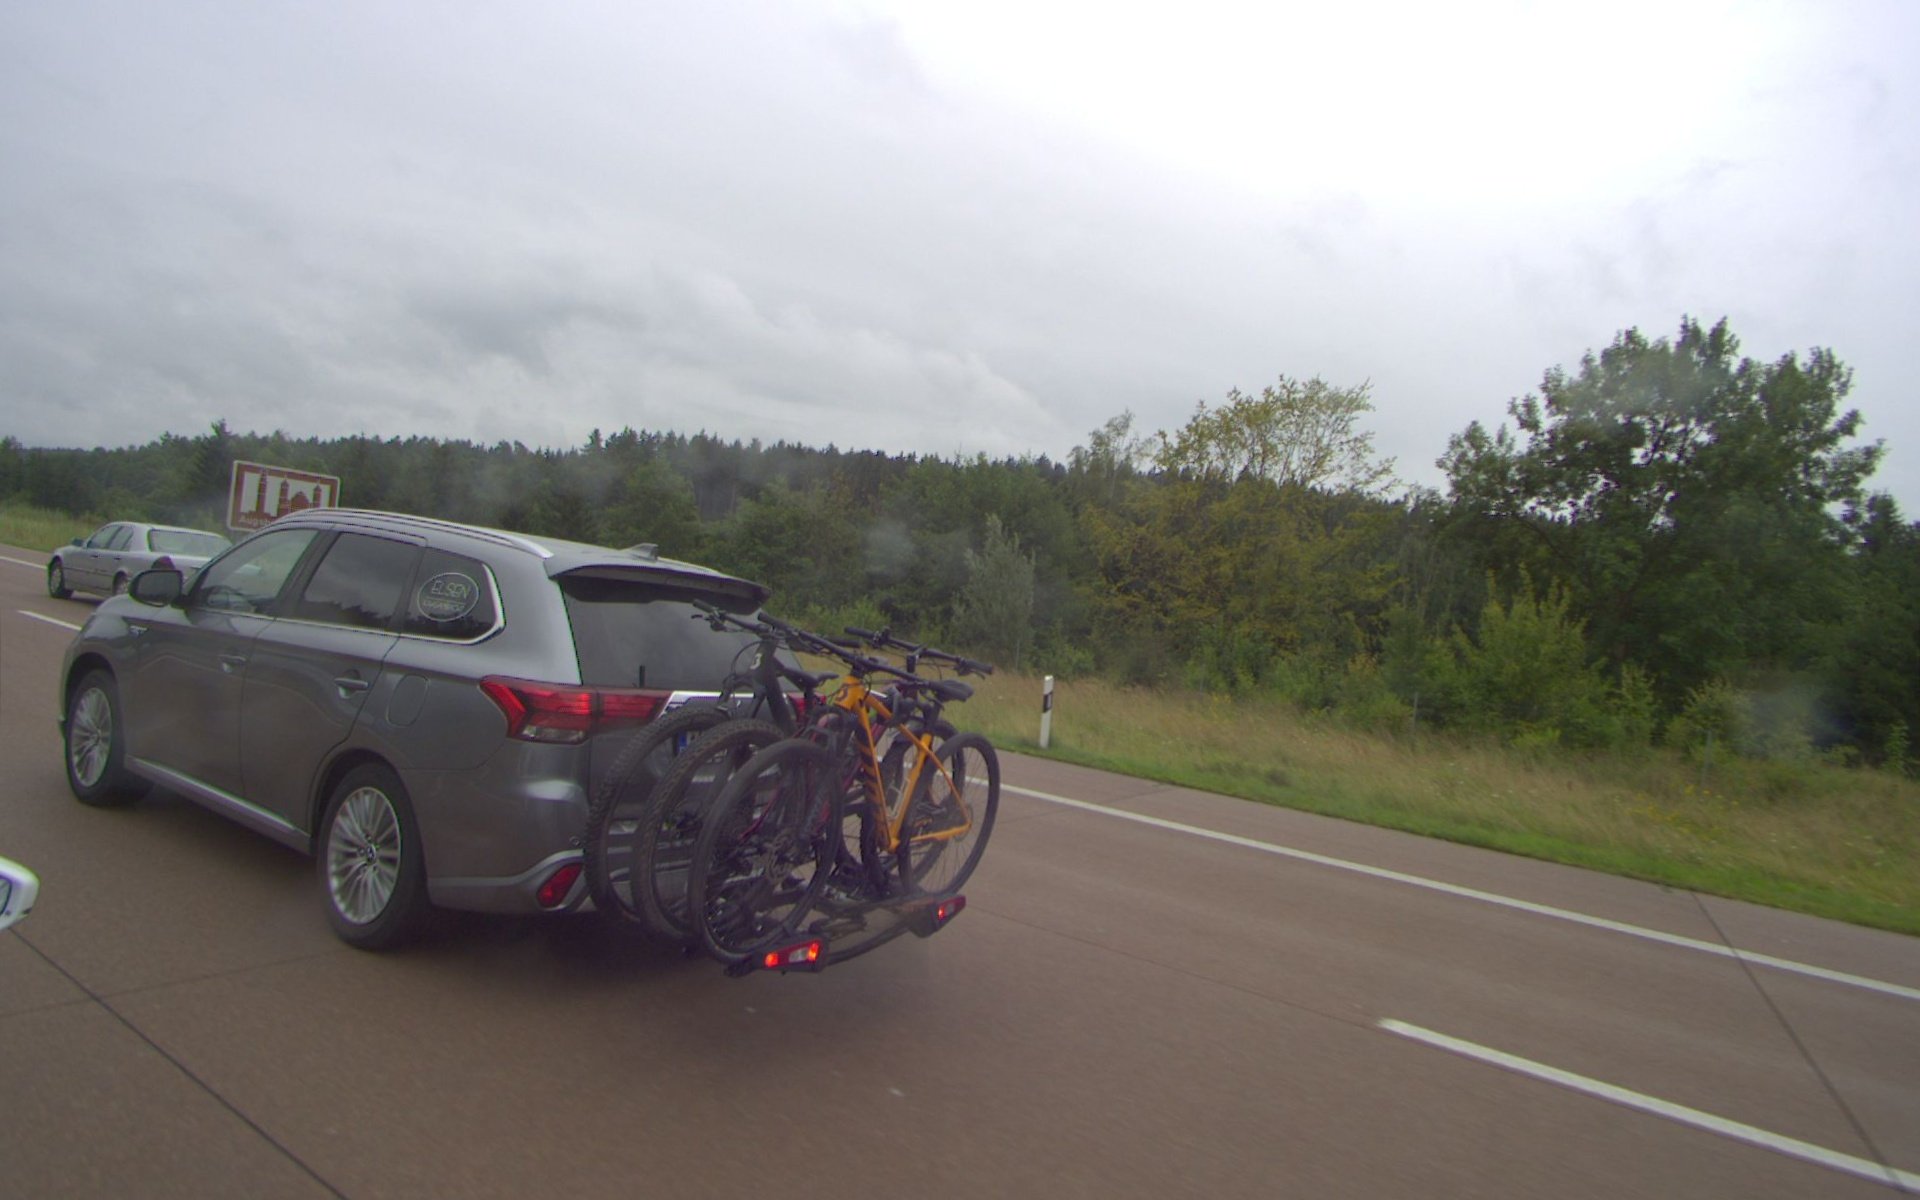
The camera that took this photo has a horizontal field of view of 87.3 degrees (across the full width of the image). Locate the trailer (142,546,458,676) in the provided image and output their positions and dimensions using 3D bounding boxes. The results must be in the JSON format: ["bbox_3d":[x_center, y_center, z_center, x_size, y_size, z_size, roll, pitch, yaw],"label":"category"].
[{"bbox_3d":[-9.377,0.125,14.190,4.563,1.180,1.975,7,-2,33],"label":"trailer"}]

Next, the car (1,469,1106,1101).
[{"bbox_3d":[-2.383,0.381,5.001,5.725,1.611,1.997,5,-3,32],"label":"car"}]

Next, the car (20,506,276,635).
[{"bbox_3d":[-13.432,-0.517,16.545,4.895,1.631,1.700,5,-1,32],"label":"car"}]
